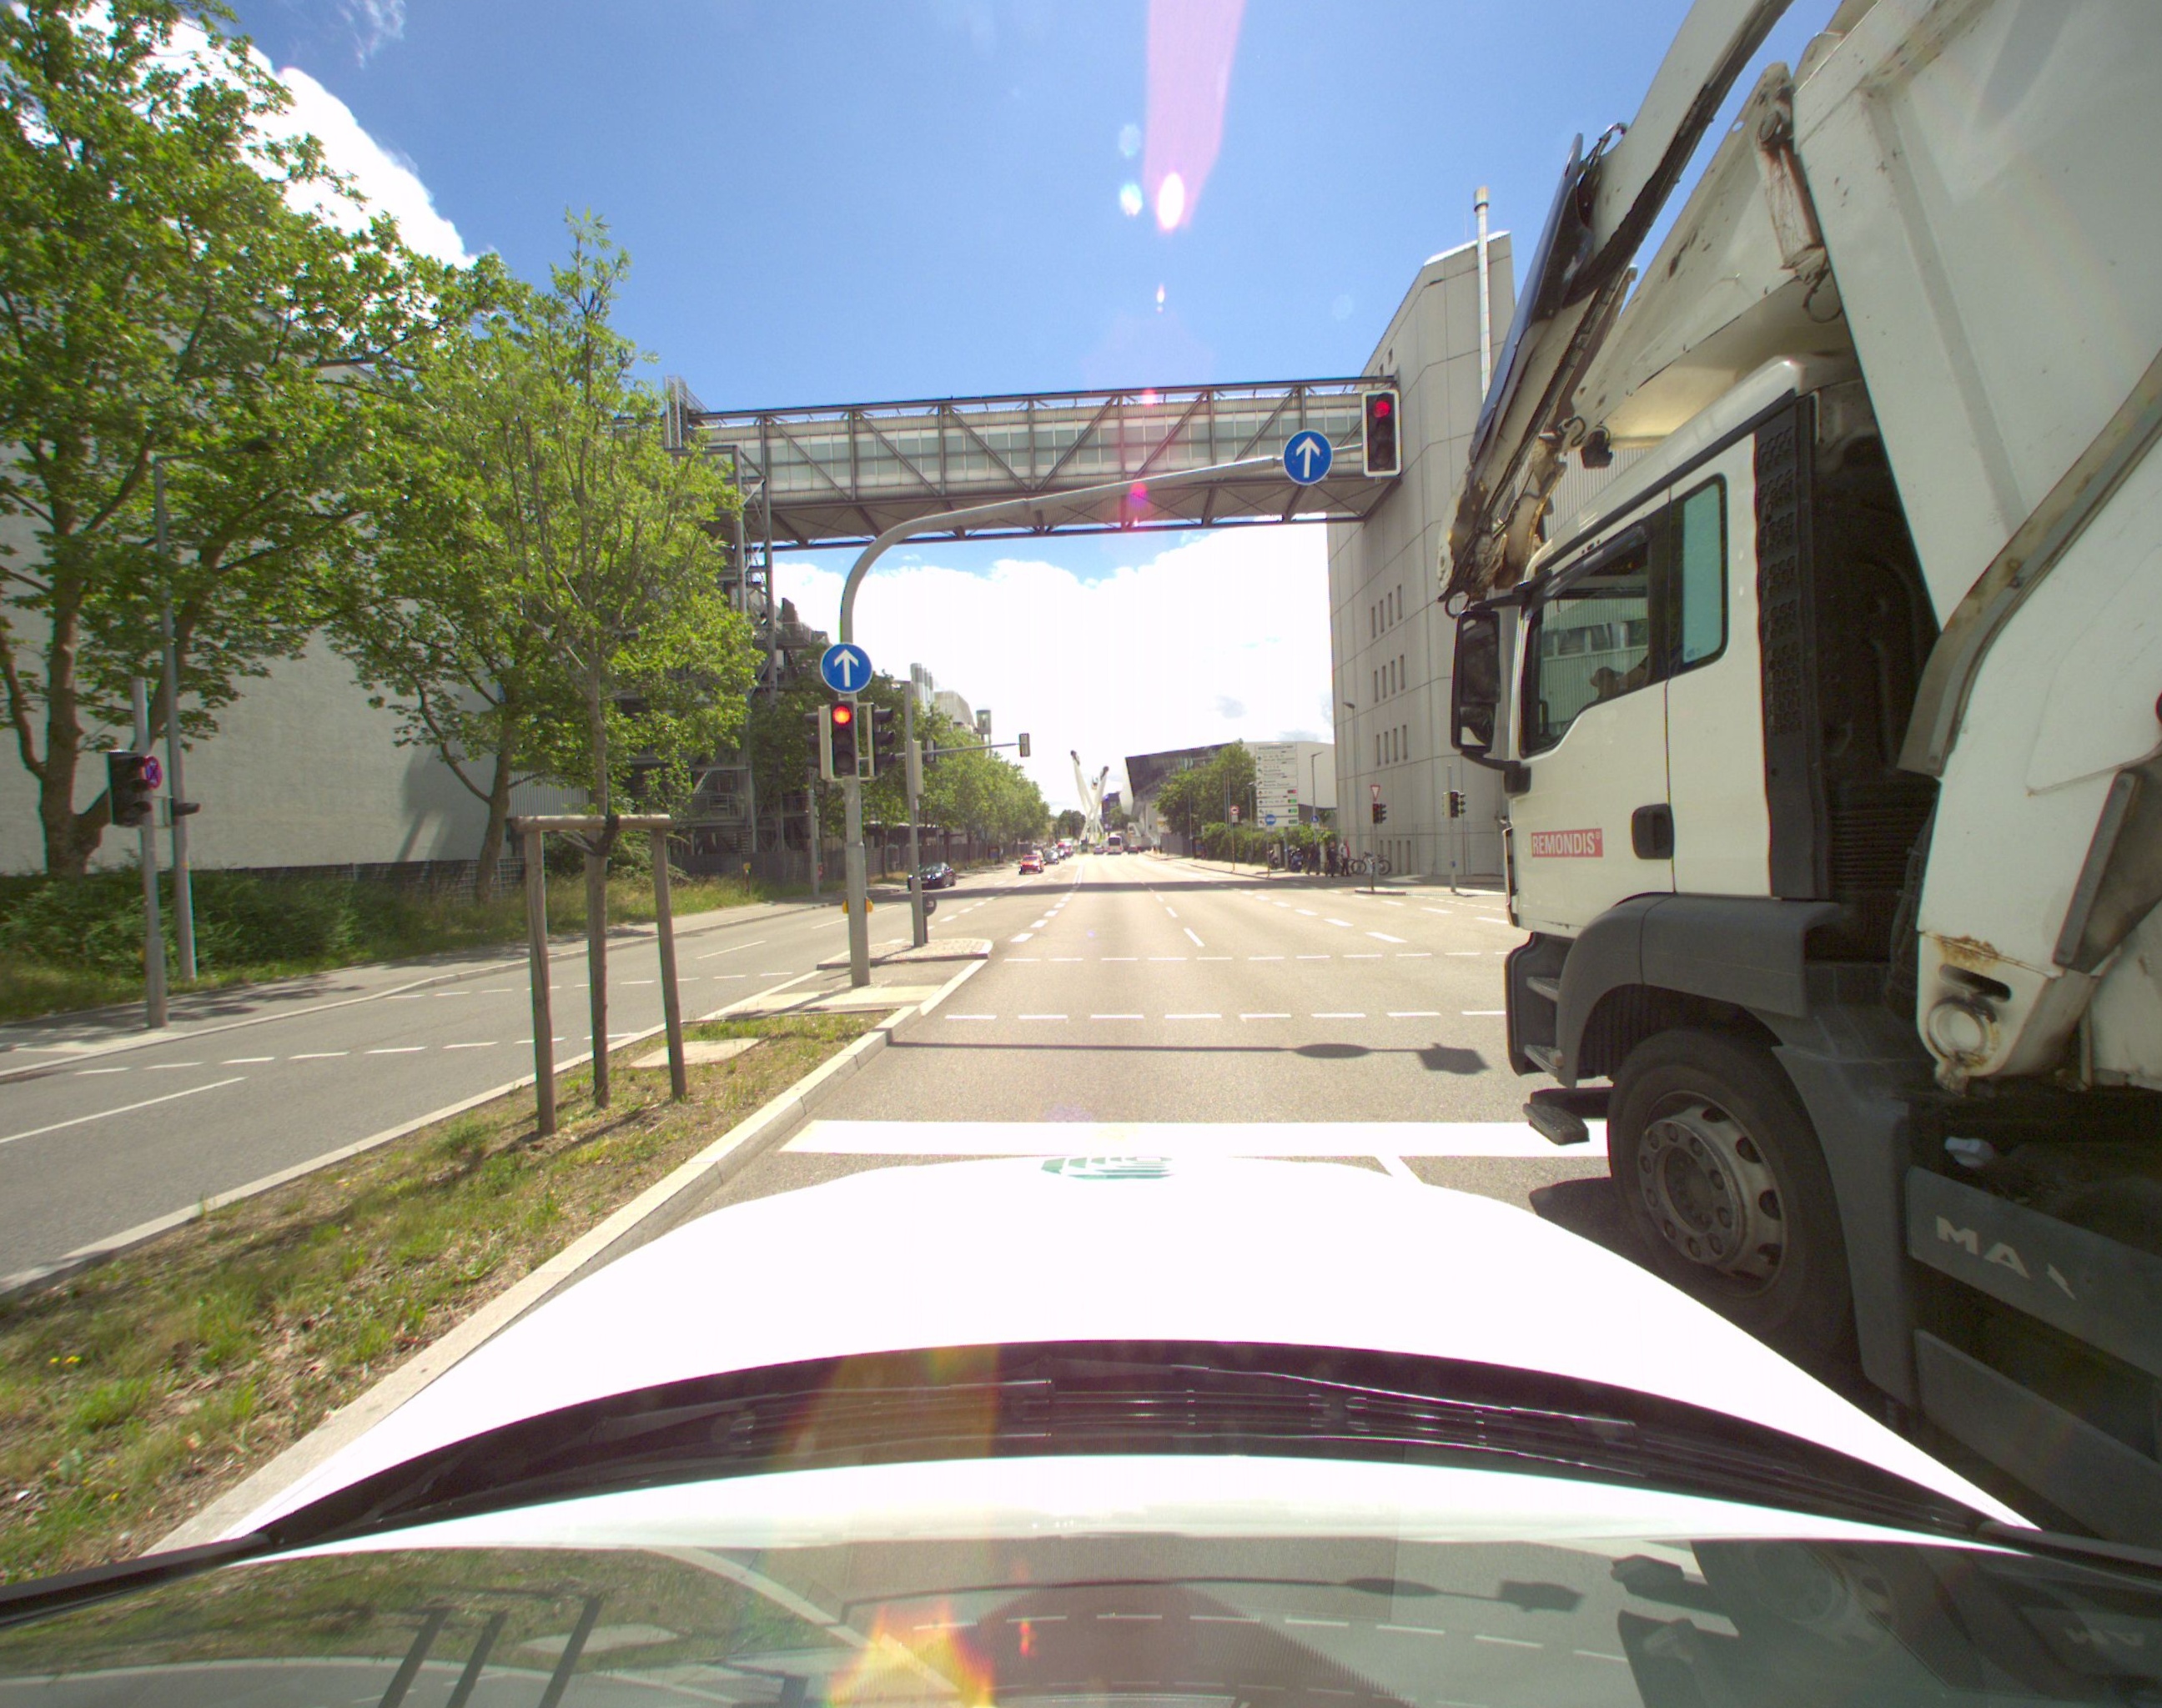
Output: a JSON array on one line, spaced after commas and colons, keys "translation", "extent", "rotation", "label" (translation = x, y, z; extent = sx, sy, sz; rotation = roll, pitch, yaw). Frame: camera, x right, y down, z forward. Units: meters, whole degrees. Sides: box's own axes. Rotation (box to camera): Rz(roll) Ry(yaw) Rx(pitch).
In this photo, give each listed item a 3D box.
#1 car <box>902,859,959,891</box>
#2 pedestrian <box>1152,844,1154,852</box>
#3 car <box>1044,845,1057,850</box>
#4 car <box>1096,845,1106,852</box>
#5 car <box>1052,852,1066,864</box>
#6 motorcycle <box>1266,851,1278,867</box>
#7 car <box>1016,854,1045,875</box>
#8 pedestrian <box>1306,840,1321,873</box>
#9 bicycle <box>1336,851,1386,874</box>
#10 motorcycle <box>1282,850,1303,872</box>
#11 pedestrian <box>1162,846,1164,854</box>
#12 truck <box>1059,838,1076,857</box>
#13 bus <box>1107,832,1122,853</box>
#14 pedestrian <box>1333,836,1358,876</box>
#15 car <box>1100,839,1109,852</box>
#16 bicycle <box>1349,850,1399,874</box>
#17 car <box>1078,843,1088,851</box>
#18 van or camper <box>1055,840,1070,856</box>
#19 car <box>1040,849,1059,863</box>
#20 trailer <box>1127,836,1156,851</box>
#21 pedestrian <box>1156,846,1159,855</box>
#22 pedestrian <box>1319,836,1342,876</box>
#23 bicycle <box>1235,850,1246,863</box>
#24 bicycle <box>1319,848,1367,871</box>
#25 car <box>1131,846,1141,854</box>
[{"translation": [-8.137, 1.109, 44.351], "extent": [1.910, 1.488, 4.775], "rotation": [-4, 0, 3], "label": "car"}, {"translation": [12.194, -1.009, 137.643], "extent": [0.384, 1.421, 0.424], "rotation": [0, -1, 2], "label": "pedestrian"}, {"translation": [-8.755, -1.935, 234.673], "extent": [3.723, 1.273, 1.543], "rotation": [-4, 0, -45], "label": "car"}, {"translation": [3.635, -1.029, 148.917], "extent": [1.551, 1.273, 3.704], "rotation": [-4, 0, 3], "label": "car"}, {"translation": [-3.115, 0.570, 114.547], "extent": [1.551, 1.448, 3.775], "rotation": [-4, 0, 3], "label": "car"}, {"translation": [12.173, 0.337, 51.872], "extent": [0.455, 1.022, 1.914], "rotation": [0, -1, 4], "label": "motorcycle"}, {"translation": [-3.938, 0.808, 63.827], "extent": [1.762, 1.420, 3.704], "rotation": [-4, 0, 3], "label": "car"}, {"translation": [11.612, 0.121, 40.719], "extent": [0.532, 1.640, 0.657], "rotation": [0, -1, -4], "label": "pedestrian"}, {"translation": [13.518, 0.401, 39.361], "extent": [2.196, 1.086, 0.480], "rotation": [-1, -1, 37], "label": "bicycle"}, {"translation": [11.650, 0.397, 44.895], "extent": [0.418, 1.166, 1.951], "rotation": [0, -1, -9], "label": "motorcycle"}, {"translation": [13.664, -0.685, 136.083], "extent": [0.384, 1.421, 0.424], "rotation": [0, -1, 2], "label": "pedestrian"}, {"translation": [-2.390, -1.099, 145.577], "extent": [2.581, 3.324, 7.083], "rotation": [0, -1, 3], "label": "truck"}, {"translation": [6.210, -2.003, 149.919], "extent": [2.776, 3.686, 6.947], "rotation": [0, -1, 3], "label": "bus"}, {"translation": [12.388, 0.098, 38.155], "extent": [0.692, 1.793, 0.709], "rotation": [-4, 0, -14], "label": "pedestrian"}, {"translation": [4.838, -1.759, 171.317], "extent": [1.837, 2.624, 4.001], "rotation": [0, -1, 1], "label": "car"}, {"translation": [13.814, 0.391, 38.419], "extent": [2.166, 1.086, 0.480], "rotation": [-1, -1, 37], "label": "bicycle"}, {"translation": [0.396, -1.314, 155.933], "extent": [1.551, 1.273, 3.704], "rotation": [-4, 0, 3], "label": "car"}, {"translation": [-2.968, -1.017, 130.346], "extent": [2.038, 2.466, 5.598], "rotation": [-1, 0, 3], "label": "van or camper"}, {"translation": [-3.549, 0.253, 92.631], "extent": [1.762, 1.420, 3.704], "rotation": [-4, 0, 3], "label": "car"}, {"translation": [12.906, -2.209, 172.116], "extent": [3.291, 2.995, 10.429], "rotation": [-1, -1, 21], "label": "trailer"}, {"translation": [12.816, -0.616, 136.314], "extent": [0.384, 1.421, 0.424], "rotation": [0, -1, 2], "label": "pedestrian"}, {"translation": [11.633, 0.091, 37.930], "extent": [0.642, 1.793, 0.709], "rotation": [-4, 0, -14], "label": "pedestrian"}, {"translation": [12.724, 0.175, 65.131], "extent": [0.417, 1.022, 1.911], "rotation": [0, -1, -2], "label": "bicycle"}, {"translation": [13.084, 0.278, 40.705], "extent": [2.196, 1.086, 0.480], "rotation": [-1, -1, 37], "label": "bicycle"}, {"translation": [9.876, -0.713, 146.359], "extent": [1.551, 1.273, 3.704], "rotation": [-4, 0, 3], "label": "car"}]
